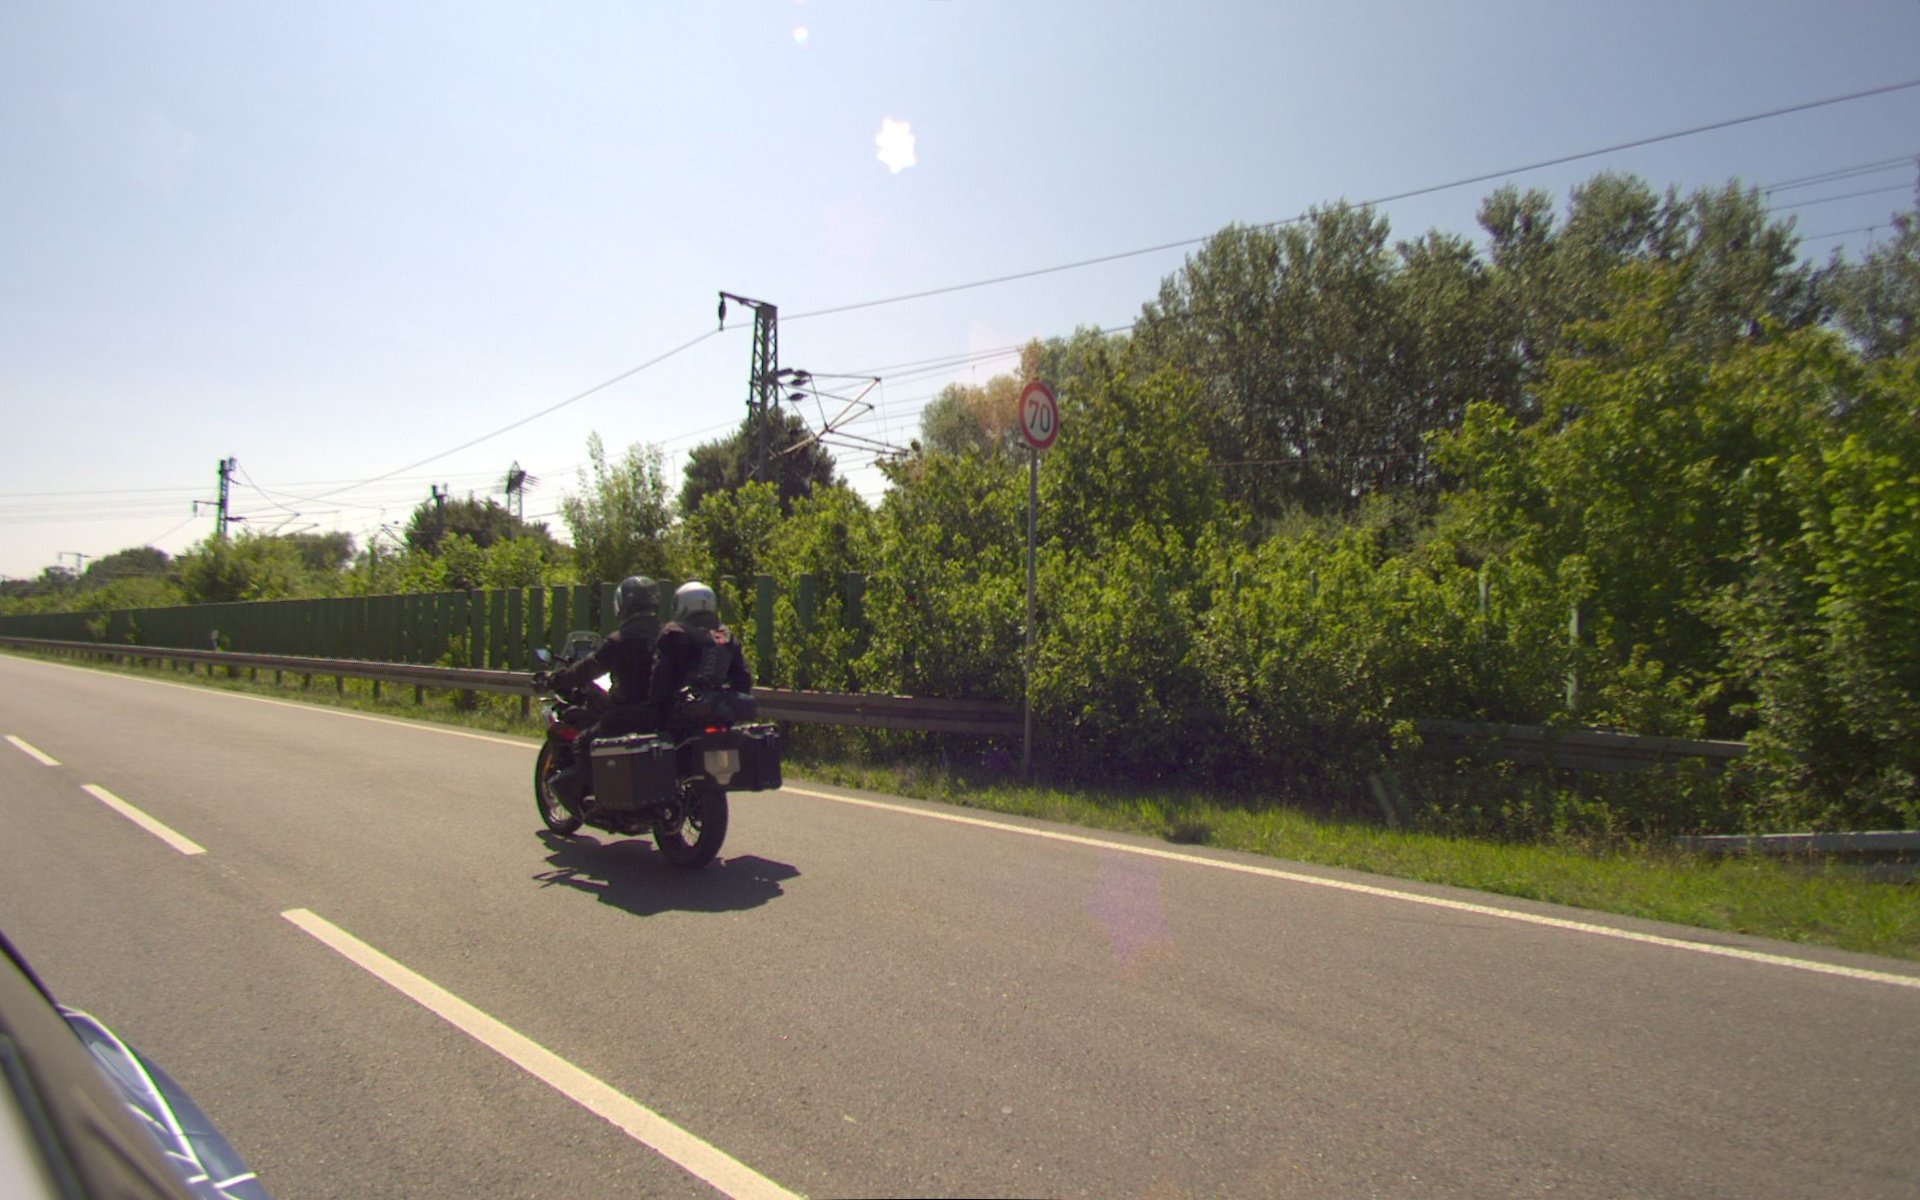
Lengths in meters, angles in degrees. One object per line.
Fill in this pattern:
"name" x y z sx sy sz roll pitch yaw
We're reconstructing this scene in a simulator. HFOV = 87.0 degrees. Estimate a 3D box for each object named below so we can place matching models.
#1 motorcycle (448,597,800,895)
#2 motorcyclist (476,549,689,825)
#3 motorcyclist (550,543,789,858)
"motorcycle" -2.224 0.758 6.409 2.630 1.507 0.958 -1 0 43
"motorcyclist" -2.476 0.513 6.638 1.003 1.621 0.949 -1 0 43
"motorcyclist" -1.698 0.519 5.919 1.003 1.621 0.949 -1 0 43
